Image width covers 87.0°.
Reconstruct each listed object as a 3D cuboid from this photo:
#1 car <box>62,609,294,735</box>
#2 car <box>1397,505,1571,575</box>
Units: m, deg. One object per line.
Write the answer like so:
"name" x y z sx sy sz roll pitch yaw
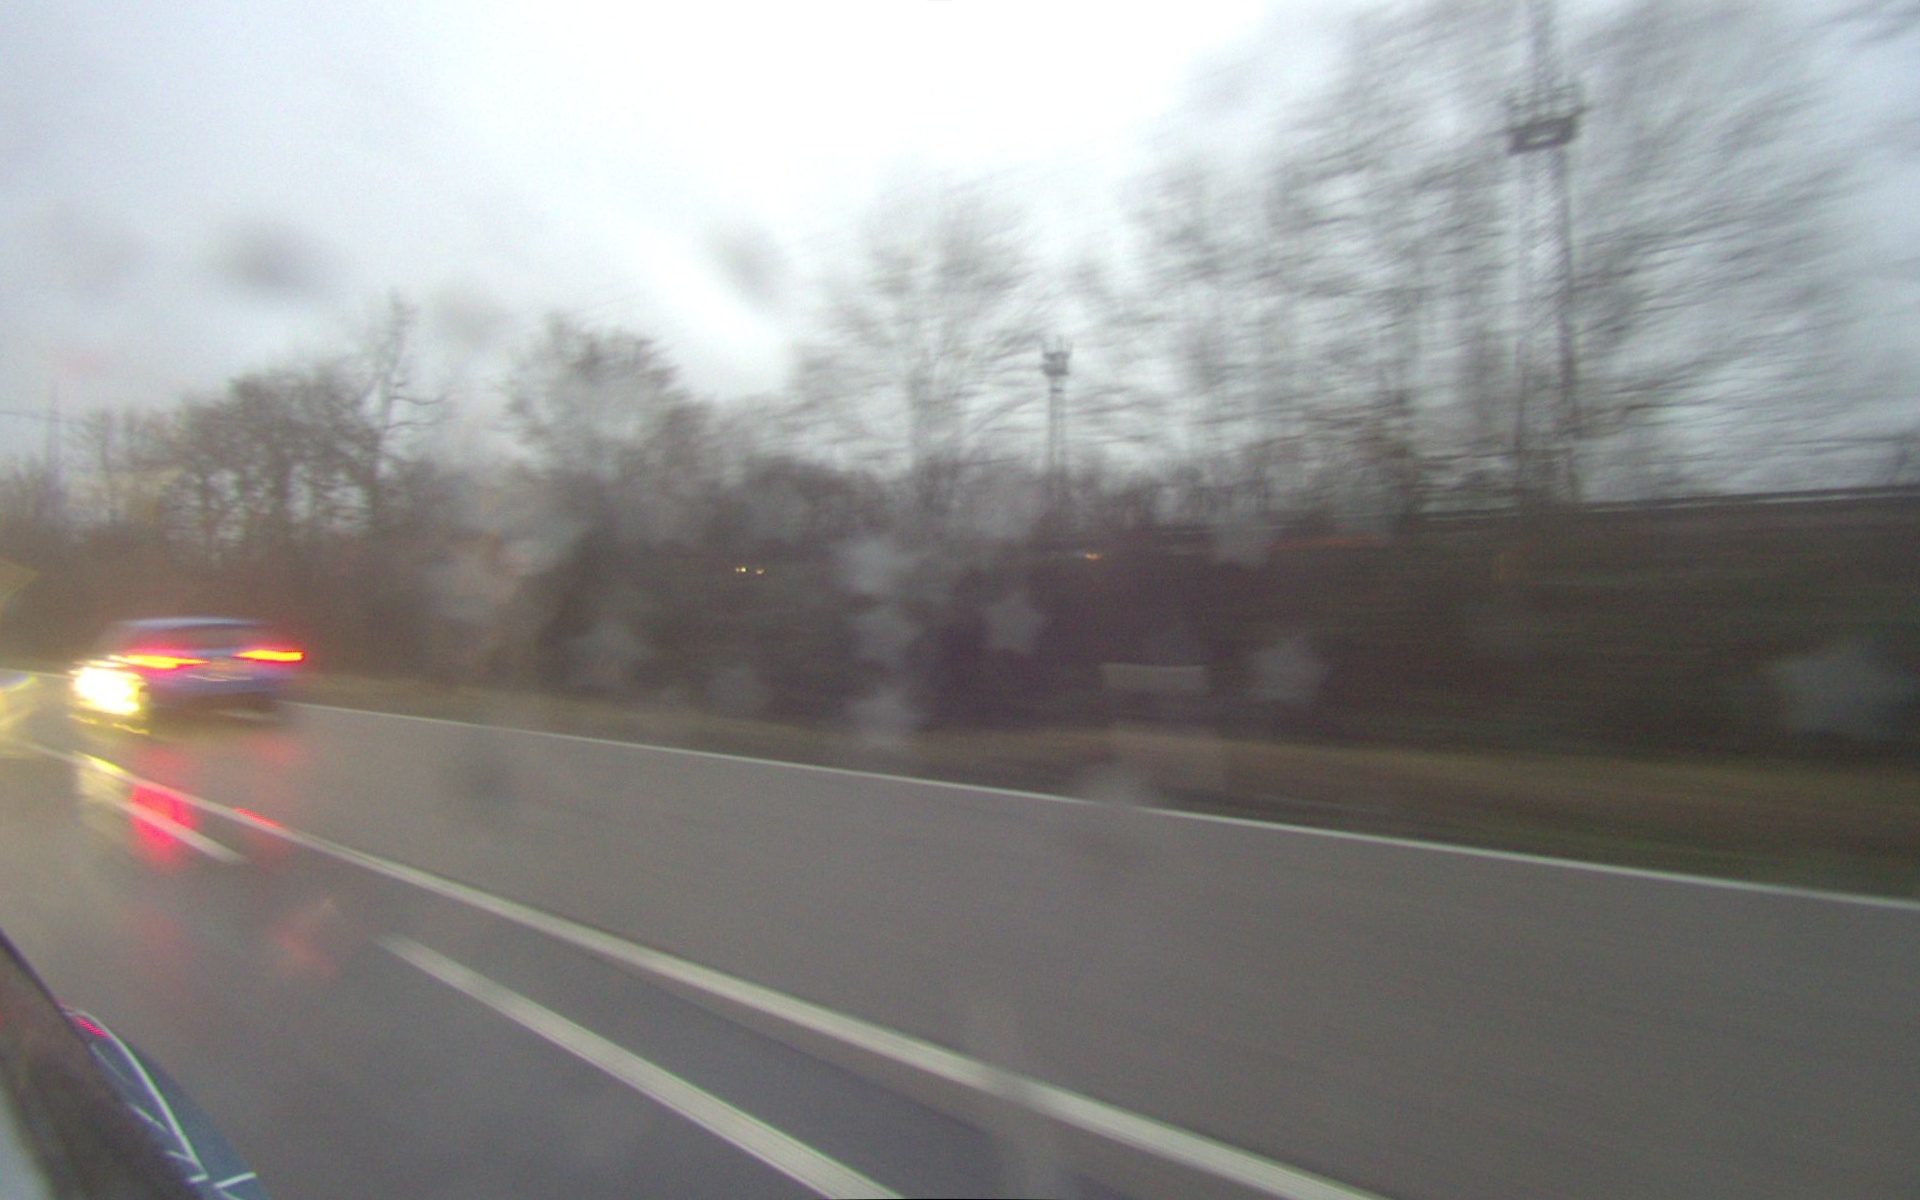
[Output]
"car" -11.195 0.941 14.389 4.099 1.508 1.747 -2 -1 40
"car" 13.910 -1.531 26.932 3.934 1.646 1.770 -1 1 35
